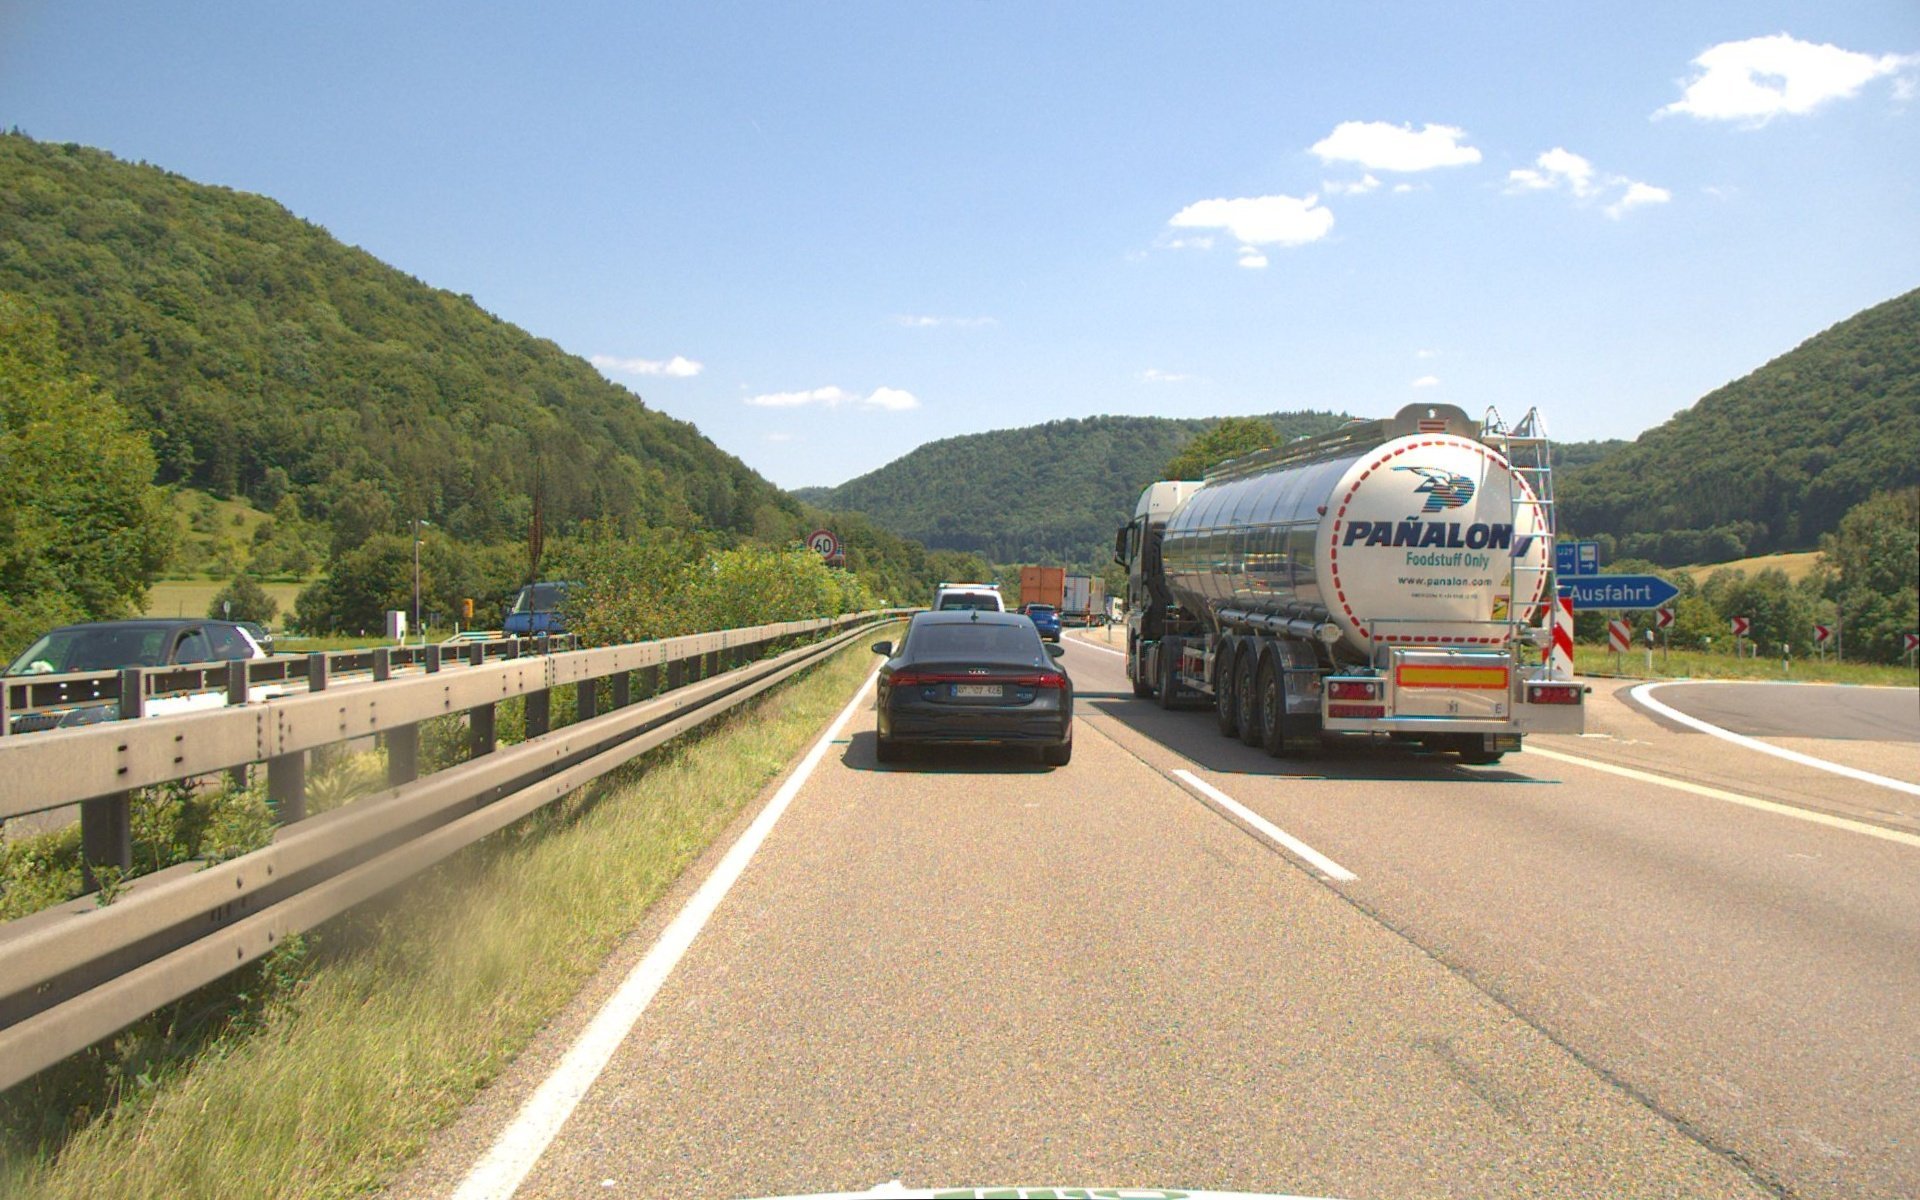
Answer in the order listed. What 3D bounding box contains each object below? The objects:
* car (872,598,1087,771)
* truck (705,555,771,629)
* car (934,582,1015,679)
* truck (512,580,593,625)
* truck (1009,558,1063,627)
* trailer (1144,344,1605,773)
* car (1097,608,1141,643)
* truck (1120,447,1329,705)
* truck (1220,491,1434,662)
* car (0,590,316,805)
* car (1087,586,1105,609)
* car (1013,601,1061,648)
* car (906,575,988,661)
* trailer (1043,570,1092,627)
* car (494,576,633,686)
[{"bbox_3d":[0.070,0.742,16.616,1.813,1.514,4.079,0,0,-4],"label":"car"},{"bbox_3d":[-12.557,-0.442,94.427,2.376,3.967,12.278,0,0,-1],"label":"truck"},{"bbox_3d":[0.249,0.587,33.952,1.544,1.865,3.999,0,0,-1],"label":"car"},{"bbox_3d":[-25.939,0.158,105.730,3.510,2.742,8.442,-1,0,-3],"label":"truck"},{"bbox_3d":[4.712,-0.460,105.127,2.760,4.073,14.954,0,0,0],"label":"truck"},{"bbox_3d":[4.341,-0.371,20.614,2.487,3.801,11.888,0,0,-1],"label":"trailer"},{"bbox_3d":[7.388,1.170,76.909,1.711,1.557,4.000,-1,0,1],"label":"car"},{"bbox_3d":[4.179,-0.364,27.165,2.460,3.824,5.244,0,0,-1],"label":"truck"},{"bbox_3d":[9.940,-0.559,47.039,2.760,4.073,14.954,0,0,0],"label":"truck"},{"bbox_3d":[-7.700,0.799,15.085,1.953,1.642,4.273,-3,0,-1],"label":"car"},{"bbox_3d":[17.677,-0.330,215.317,1.953,2.986,4.898,0,0,0],"label":"car"},{"bbox_3d":[3.476,1.071,75.219,1.953,2.038,4.000,-1,0,0],"label":"car"},{"bbox_3d":[-0.336,0.437,41.551,1.953,2.049,3.999,0,0,-1],"label":"car"},{"bbox_3d":[8.632,-0.102,133.785,2.954,4.459,10.982,0,0,-1],"label":"trailer"},{"bbox_3d":[-8.095,0.594,34.205,1.954,2.106,4.835,0,0,-3],"label":"car"}]
